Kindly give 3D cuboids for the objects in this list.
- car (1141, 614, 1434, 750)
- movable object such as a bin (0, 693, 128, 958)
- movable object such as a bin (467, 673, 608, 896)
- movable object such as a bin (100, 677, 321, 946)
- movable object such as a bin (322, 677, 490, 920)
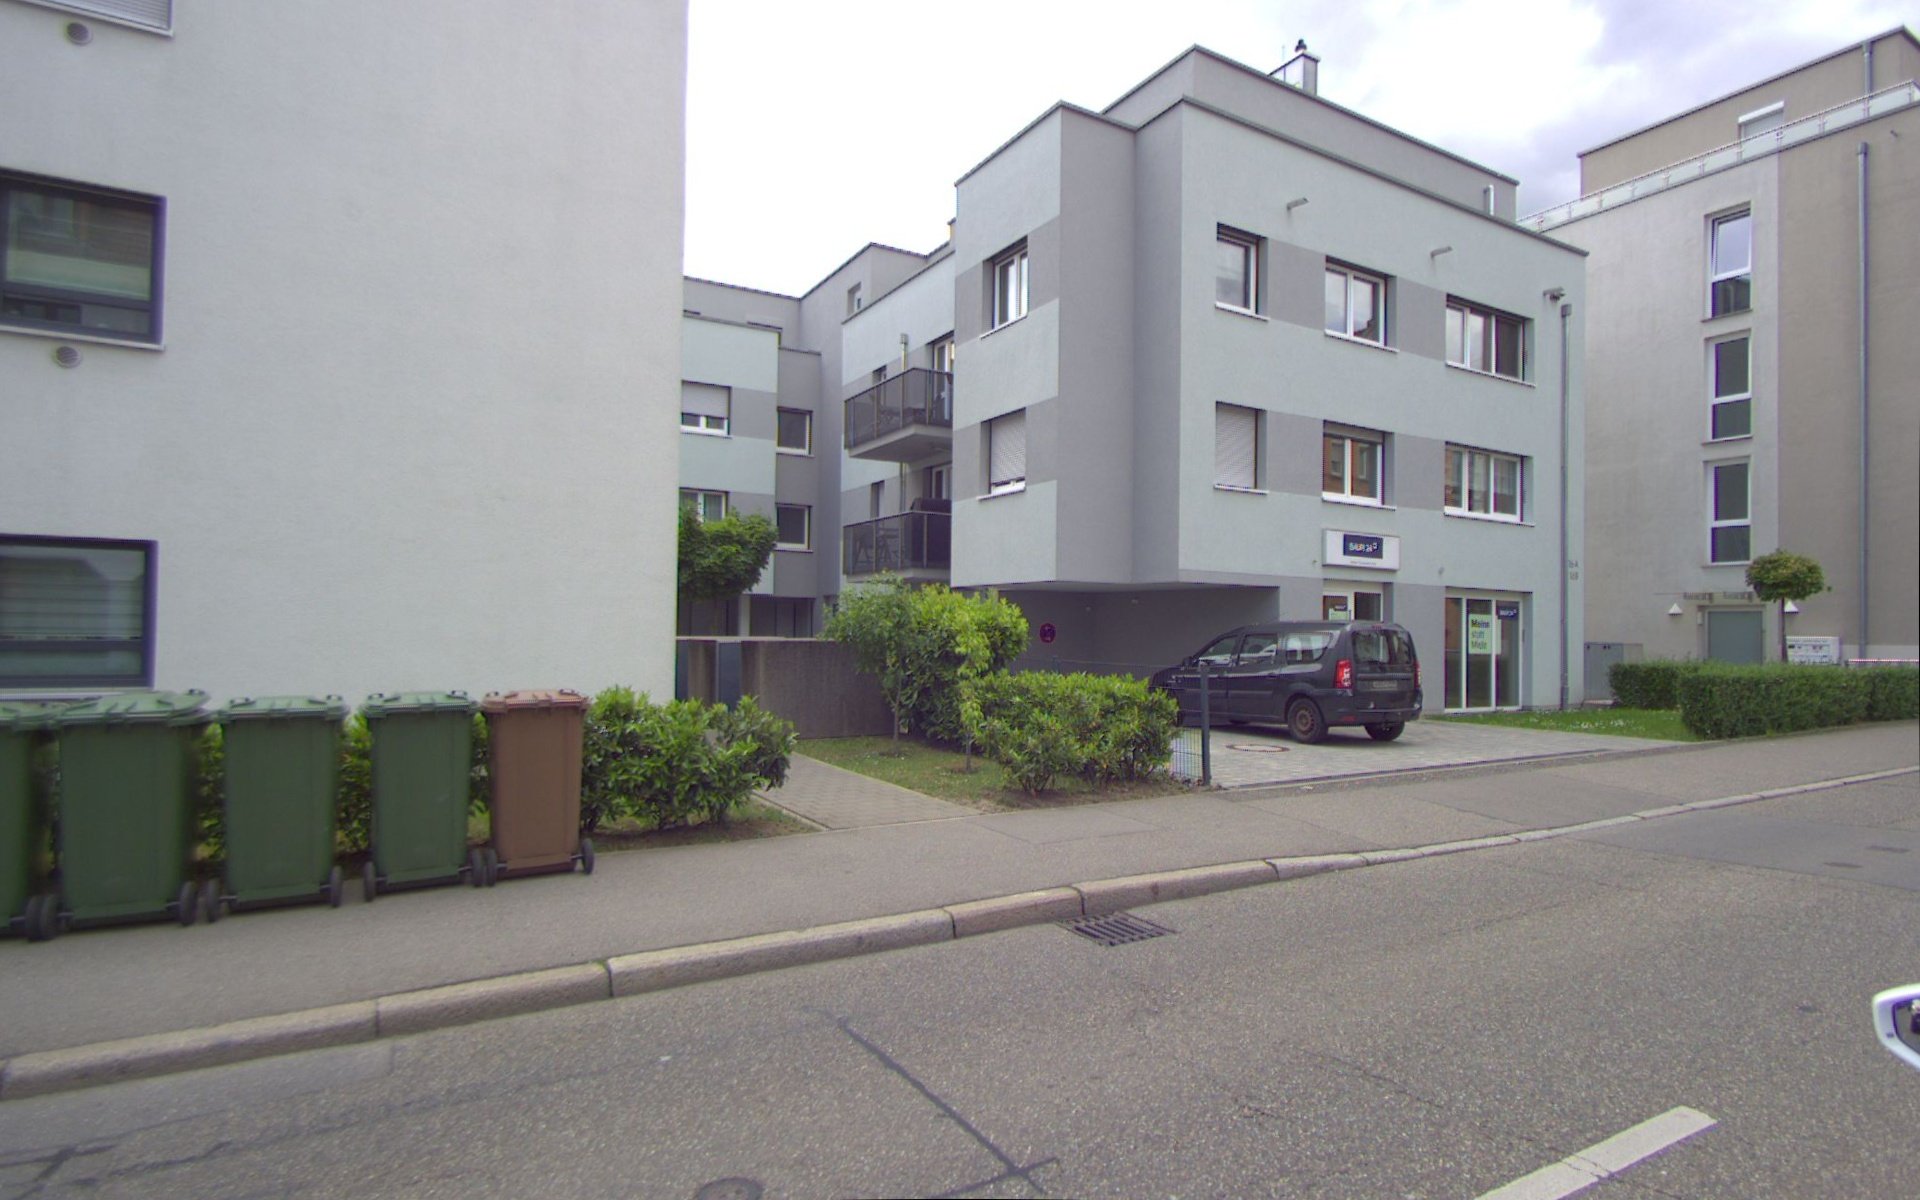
[{"bbox_3d":[4.599,1.103,14.743,1.702,1.689,4.150,2,-2,-26],"label":"car"},{"bbox_3d":[-4.521,1.030,4.759,0.784,1.103,0.889,1,-2,-34],"label":"movable object such as a bin"},{"bbox_3d":[-2.566,1.050,6.064,0.606,1.166,0.935,1,-2,-34],"label":"movable object such as a bin"},{"bbox_3d":[-3.849,1.019,5.238,0.832,1.166,0.950,1,-2,-34],"label":"movable object such as a bin"},{"bbox_3d":[-3.150,1.049,5.688,0.741,1.166,0.942,1,-2,-34],"label":"movable object such as a bin"}]
